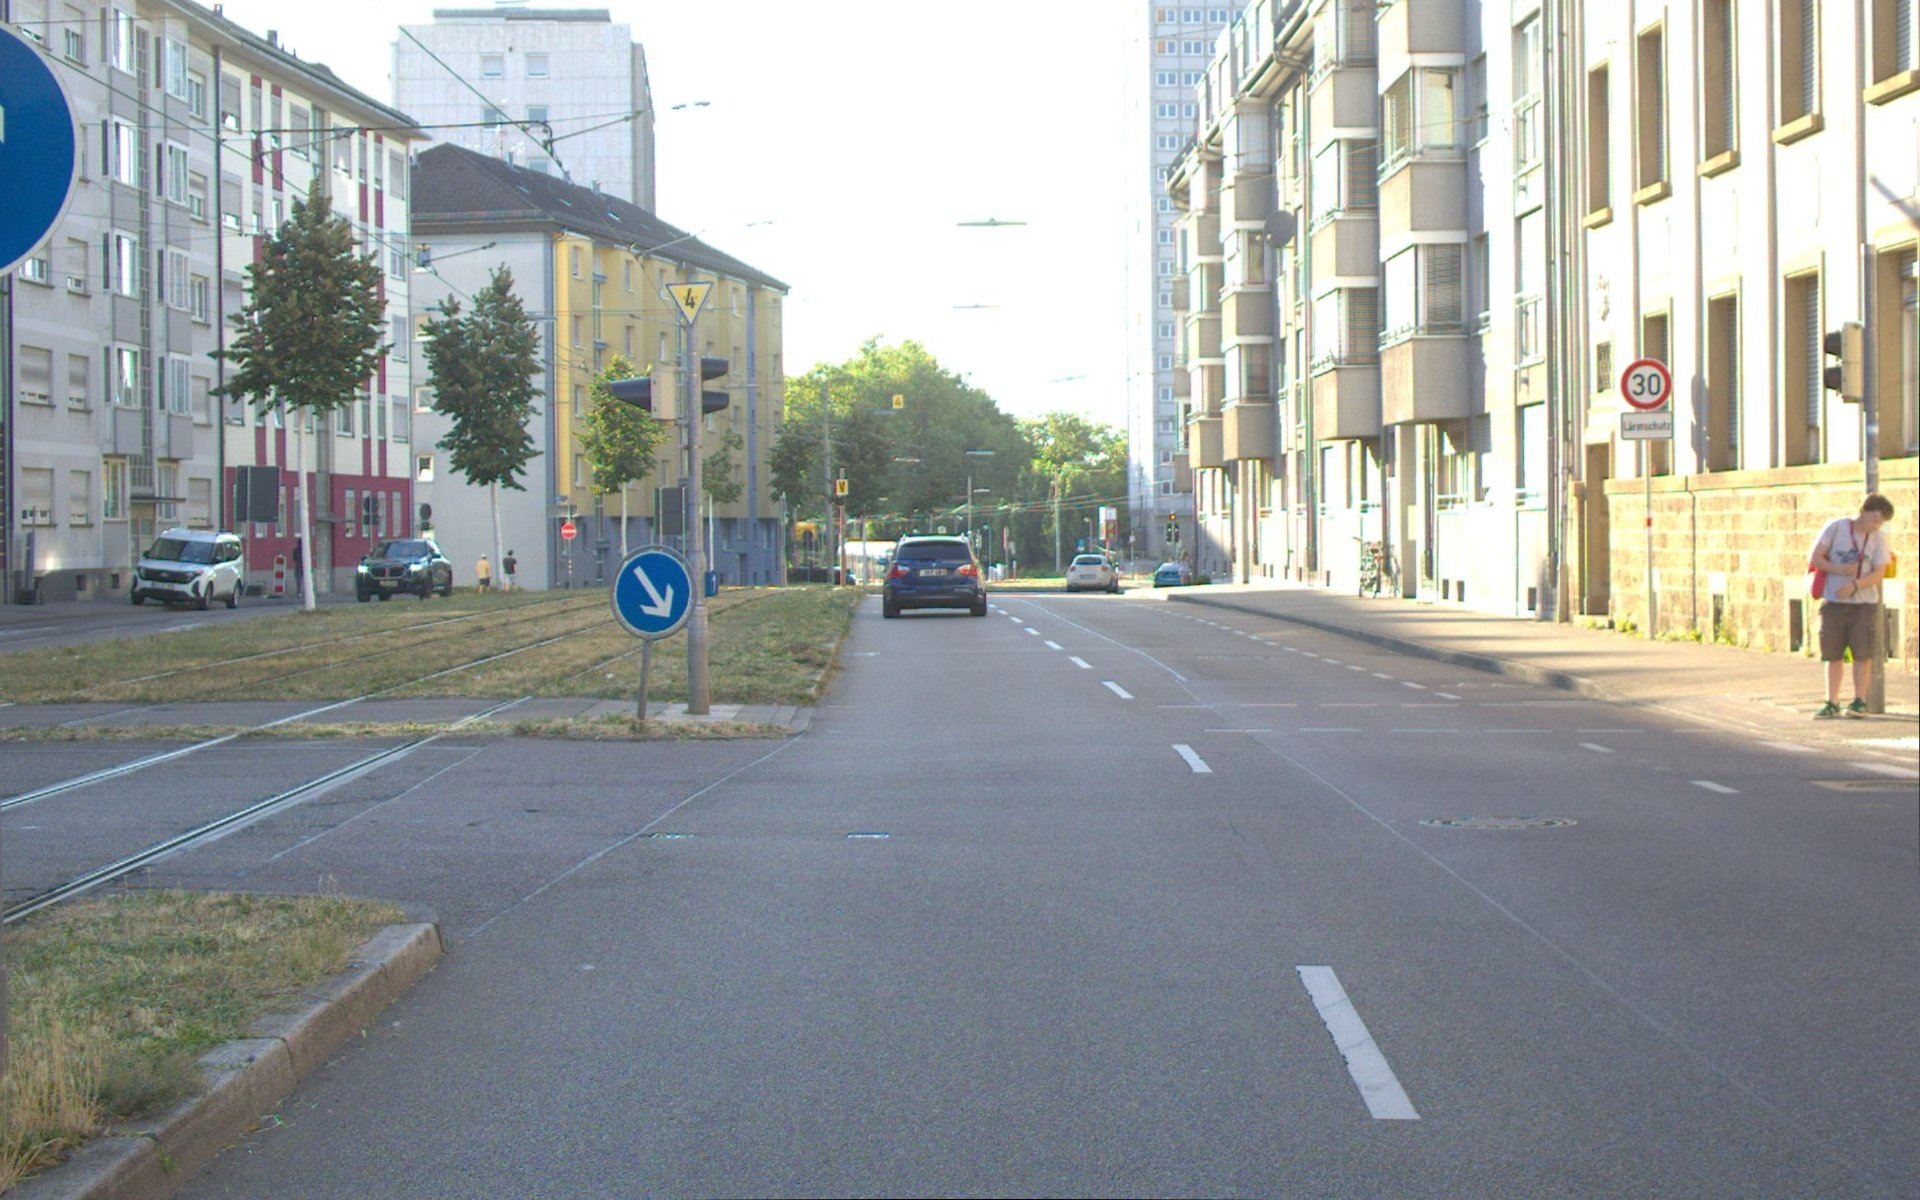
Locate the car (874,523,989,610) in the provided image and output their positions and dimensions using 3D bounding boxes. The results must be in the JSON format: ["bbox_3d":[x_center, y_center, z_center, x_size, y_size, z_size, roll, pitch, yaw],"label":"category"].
[{"bbox_3d":[-0.497,-0.586,60.361,1.926,1.451,4.328,1,1,0],"label":"car"}]

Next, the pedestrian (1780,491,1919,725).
[{"bbox_3d":[6.811,0.055,26.322,0.835,1.756,0.824,1,0,-1],"label":"pedestrian"}]

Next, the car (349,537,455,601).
[{"bbox_3d":[-14.759,-0.842,91.170,1.897,1.628,4.747,-1,1,1],"label":"car"}]

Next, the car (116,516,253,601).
[{"bbox_3d":[-18.349,-0.981,81.562,1.994,1.918,4.541,1,1,3],"label":"car"}]

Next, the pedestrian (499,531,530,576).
[{"bbox_3d":[-16.652,-1.731,128.575,0.962,1.664,1.011,1,0,5],"label":"pedestrian"}]

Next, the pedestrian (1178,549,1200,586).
[{"bbox_3d":[7.695,-1.097,115.510,0.691,1.230,0.736,1,0,0],"label":"pedestrian"}]

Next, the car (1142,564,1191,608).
[{"bbox_3d":[9.659,-0.665,161.027,1.993,2.007,4.000,-1,1,-1],"label":"car"}]

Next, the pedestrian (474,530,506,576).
[{"bbox_3d":[-17.517,-1.737,128.036,0.962,1.688,1.011,1,0,5],"label":"pedestrian"}]

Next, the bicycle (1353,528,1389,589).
[{"bbox_3d":[7.415,-0.748,62.095,0.383,1.092,1.504,-1,1,-3],"label":"bicycle"}]

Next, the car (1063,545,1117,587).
[{"bbox_3d":[4.960,-1.313,131.257,1.993,1.558,4.000,1,1,2],"label":"car"}]

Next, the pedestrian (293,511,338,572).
[{"bbox_3d":[-19.032,-1.725,101.583,1.269,1.755,1.274,1,0,-10],"label":"pedestrian"}]
